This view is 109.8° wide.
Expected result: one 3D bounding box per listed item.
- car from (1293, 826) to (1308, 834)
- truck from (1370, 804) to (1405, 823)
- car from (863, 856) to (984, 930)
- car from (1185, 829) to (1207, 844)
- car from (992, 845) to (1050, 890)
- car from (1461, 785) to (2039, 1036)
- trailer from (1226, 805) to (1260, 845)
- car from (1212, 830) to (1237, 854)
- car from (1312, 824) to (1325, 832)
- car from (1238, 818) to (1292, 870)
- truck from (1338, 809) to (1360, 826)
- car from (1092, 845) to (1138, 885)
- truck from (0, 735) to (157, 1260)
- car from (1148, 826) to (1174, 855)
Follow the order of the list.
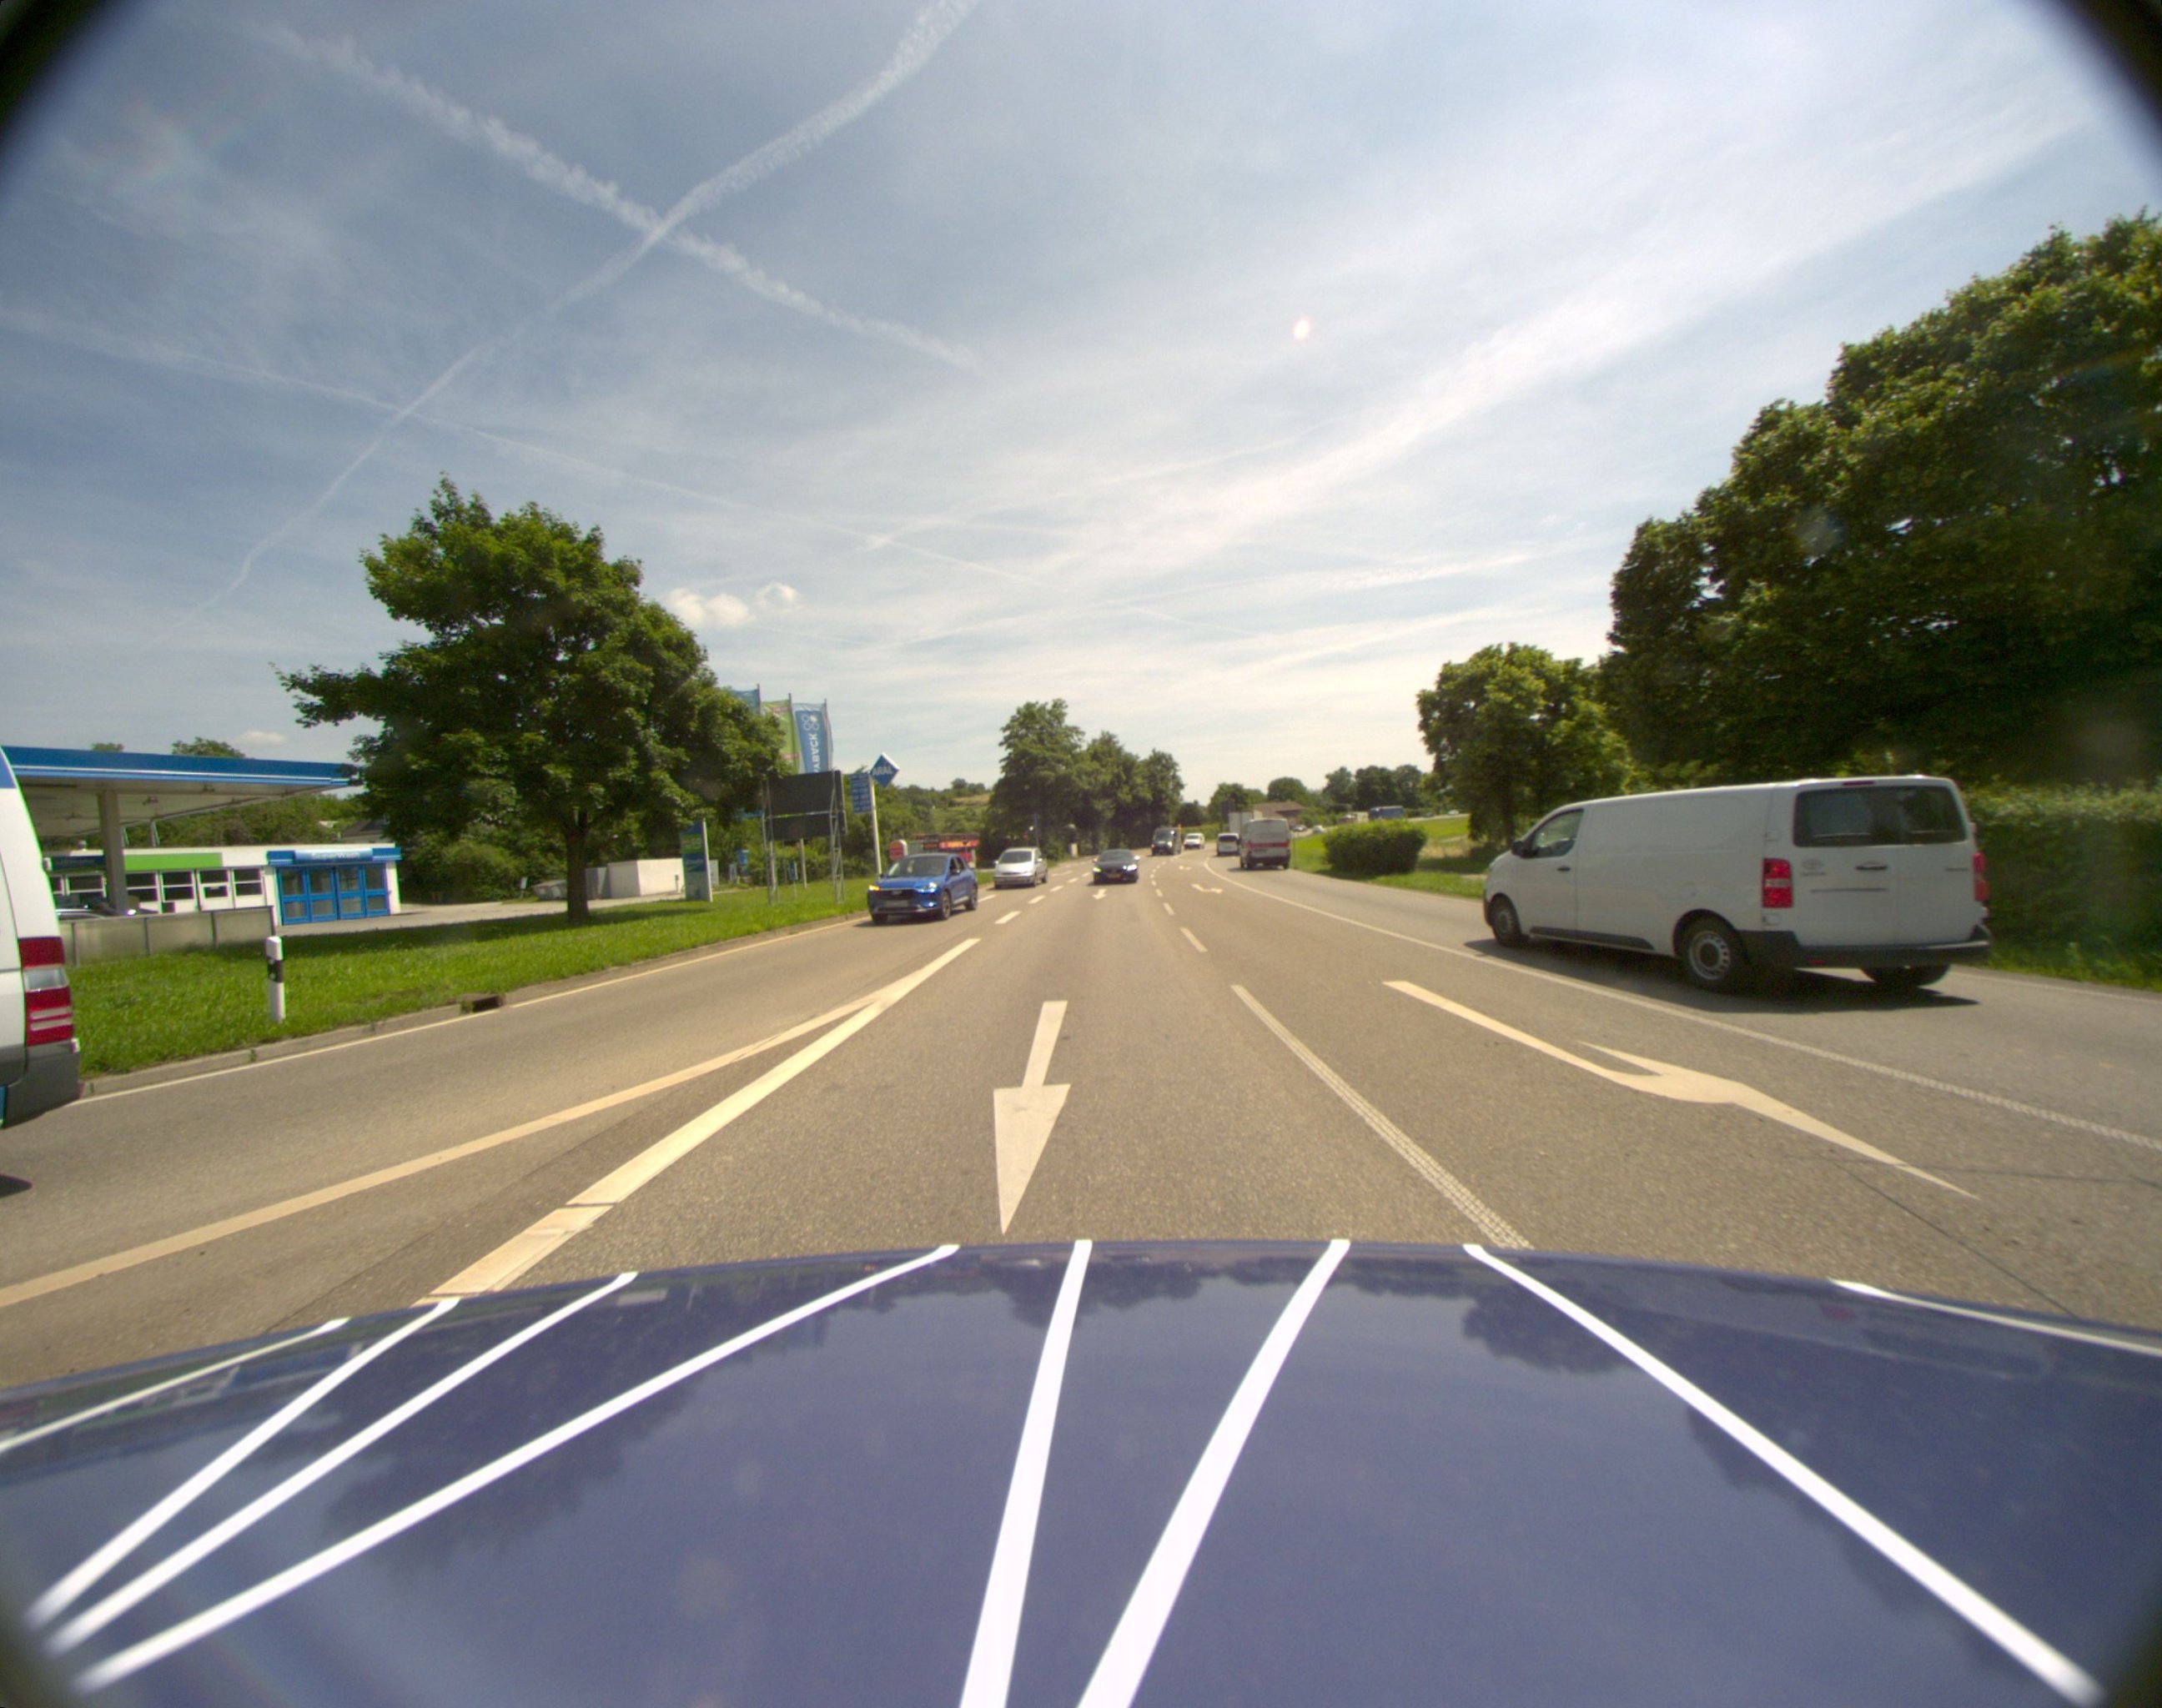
[{"bbox_3d":[46.113,-5.040,159.650,1.806,1.722,4.007,-3,0,31],"label":"car"},{"bbox_3d":[83.187,-10.985,206.155,2.738,4.583,16.187,-1,3,44],"label":"truck"},{"bbox_3d":[-3.966,0.916,19.905,1.782,1.550,4.389,-3,1,6],"label":"car"},{"bbox_3d":[13.235,-2.011,87.152,1.781,1.484,4.161,-2,2,19],"label":"car"},{"bbox_3d":[-2.591,0.543,33.819,1.865,1.682,4.526,-3,2,4],"label":"car"},{"bbox_3d":[6.427,0.403,8.339,1.876,1.875,4.950,-2,1,-2],"label":"car"},{"bbox_3d":[17.881,-3.129,83.118,2.781,4.079,11.671,-1,2,16],"label":"trailer"},{"bbox_3d":[11.966,-0.999,63.376,1.876,1.854,5.144,-2,1,10],"label":"car"},{"bbox_3d":[45.805,-5.028,146.711,1.617,1.454,3.476,-2,2,30],"label":"car"},{"bbox_3d":[9.398,-0.515,39.278,2.055,2.438,5.270,-2,1,7],"label":"car"},{"bbox_3d":[59.771,-8.088,169.356,2.970,3.550,6.909,-1,3,33],"label":"truck"},{"bbox_3d":[1.431,0.415,32.375,1.783,1.484,4.157,-3,1,2],"label":"car"},{"bbox_3d":[-7.485,0.894,1.968,2.069,2.721,5.950,-3,1,21],"label":"truck"},{"bbox_3d":[7.419,-1.273,70.772,1.980,2.505,4.156,-3,2,2],"label":"car"}]
